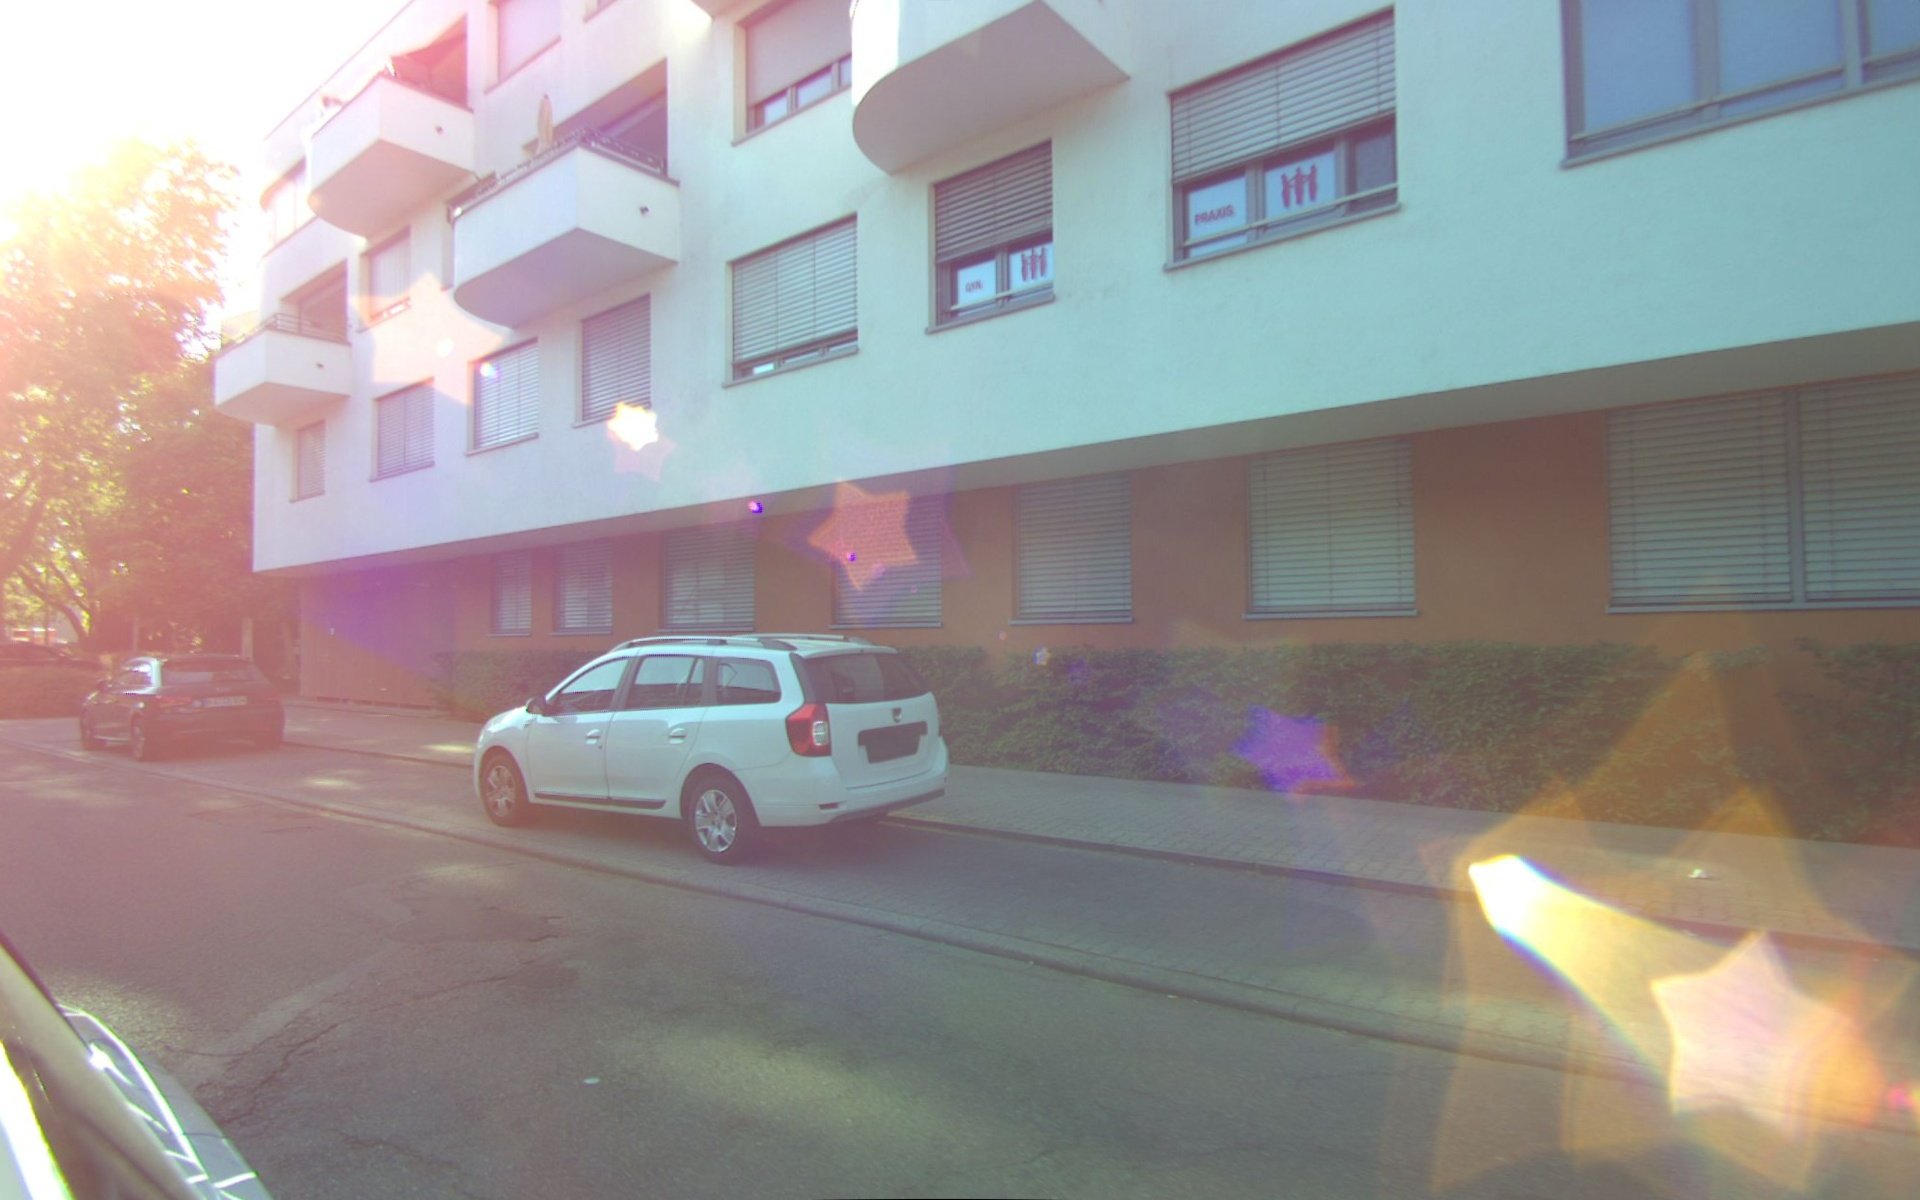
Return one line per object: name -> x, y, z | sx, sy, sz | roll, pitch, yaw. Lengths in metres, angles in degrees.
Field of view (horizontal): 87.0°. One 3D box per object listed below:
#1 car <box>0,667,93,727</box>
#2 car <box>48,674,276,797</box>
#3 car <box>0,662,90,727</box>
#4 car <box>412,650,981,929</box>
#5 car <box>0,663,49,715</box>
car -> -28.439, 2.853, 29.842 | 1.759, 1.653, 4.123 | -1, -2, 12
car -> -11.688, 1.868, 14.762 | 3.762, 1.444, 1.660 | -2, -2, 36
car -> -26.075, 2.545, 27.183 | 1.680, 1.675, 3.949 | -1, -2, 8
car -> -2.264, 1.240, 8.123 | 4.609, 1.599, 1.842 | -2, -2, 34
car -> -34.954, 3.166, 35.399 | 1.887, 1.789, 4.251 | -1, -2, 13
